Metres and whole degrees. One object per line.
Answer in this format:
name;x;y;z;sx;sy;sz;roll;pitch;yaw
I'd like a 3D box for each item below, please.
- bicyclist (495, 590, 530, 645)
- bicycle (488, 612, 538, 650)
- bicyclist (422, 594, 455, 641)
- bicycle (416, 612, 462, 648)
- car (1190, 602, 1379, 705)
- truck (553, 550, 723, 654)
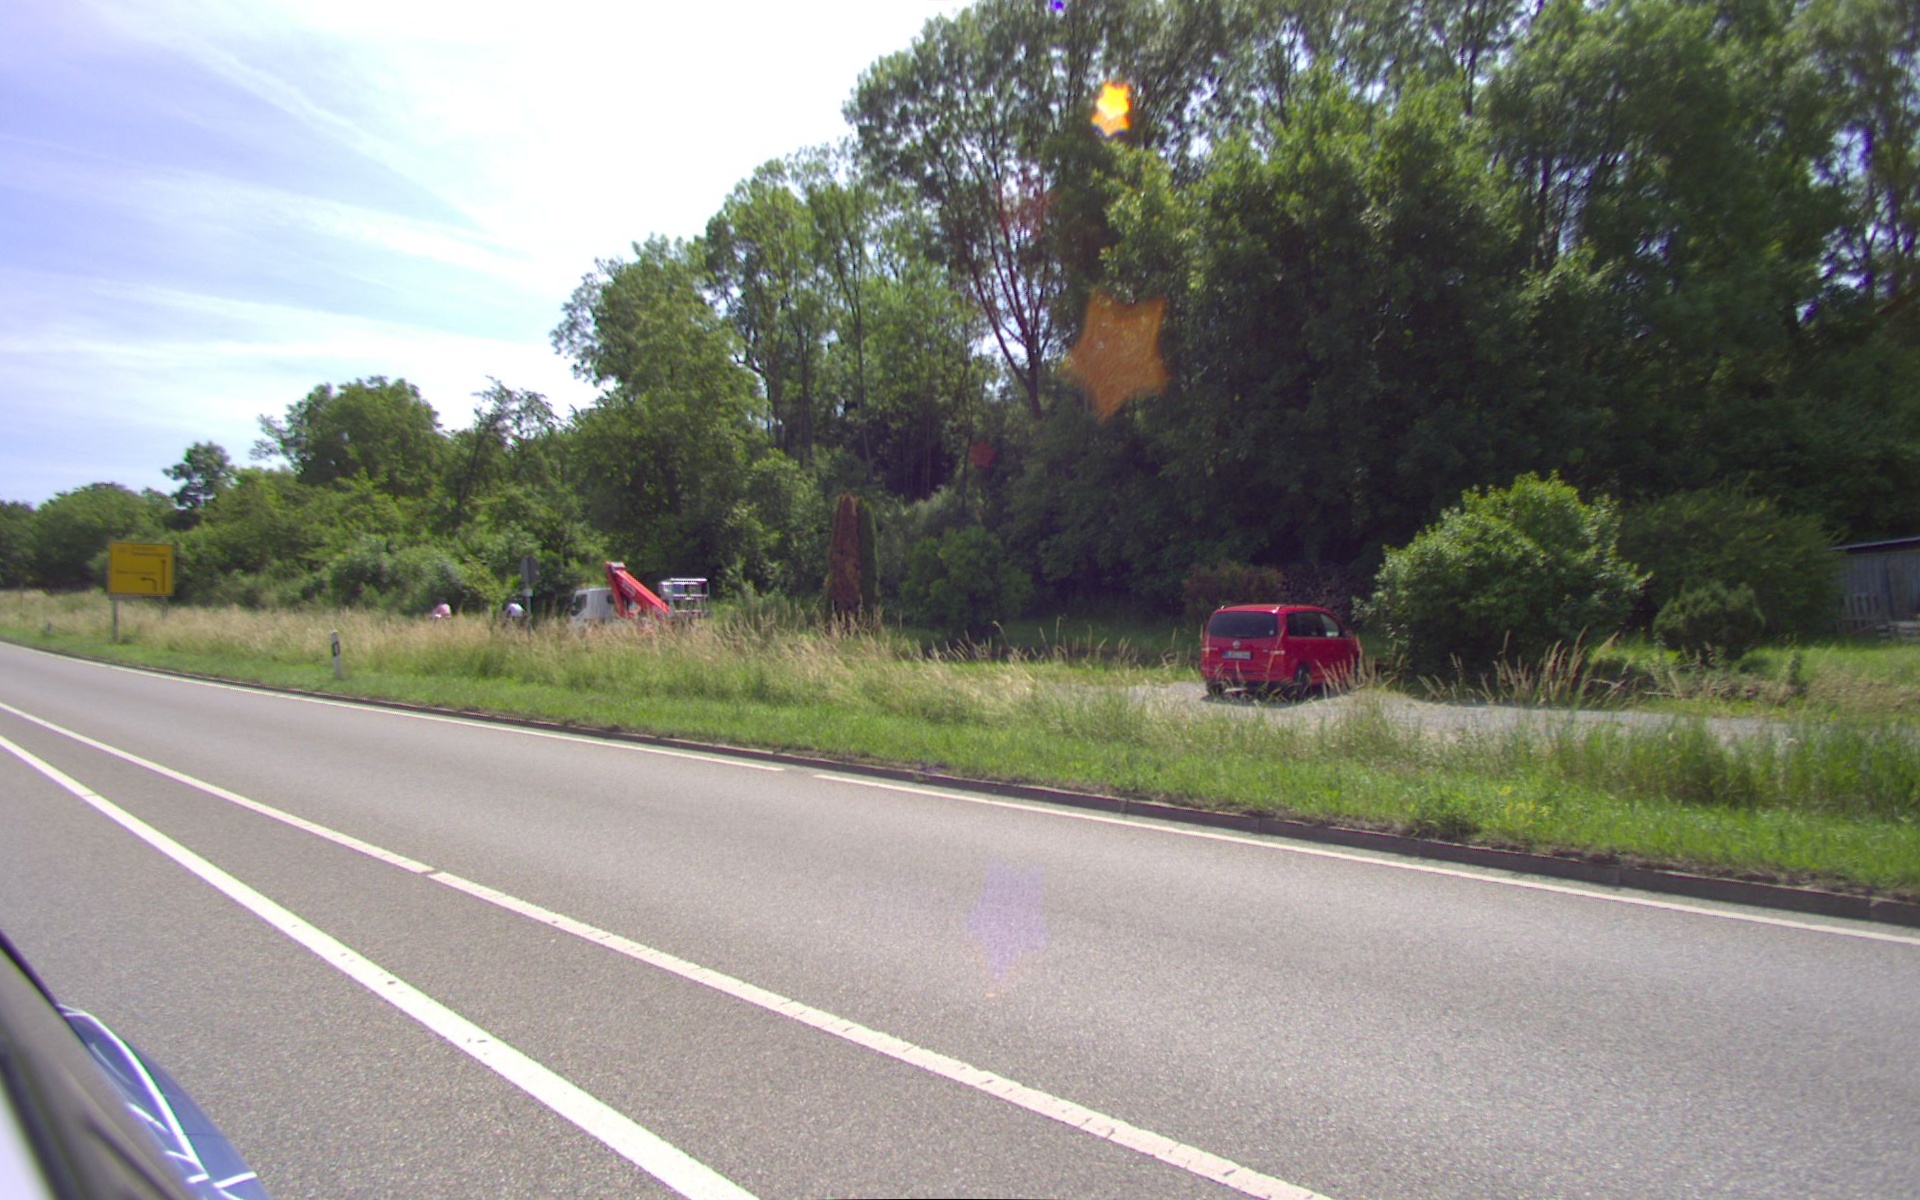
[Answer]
bicyclist;-14.517;0.554;32.827;0.936;1.727;0.740;-1;0;44
bicycle;-14.541;0.996;32.866;2.105;1.189;0.740;-1;0;44
bicyclist;-18.540;0.614;35.956;0.936;1.607;0.740;-1;0;42
bicycle;-18.509;1.043;35.931;2.104;1.221;0.740;-1;0;42
car;6.046;0.884;18.619;1.833;1.631;3.984;-1;0;42
truck;-10.316;0.065;32.058;6.773;2.986;2.004;-1;0;43
